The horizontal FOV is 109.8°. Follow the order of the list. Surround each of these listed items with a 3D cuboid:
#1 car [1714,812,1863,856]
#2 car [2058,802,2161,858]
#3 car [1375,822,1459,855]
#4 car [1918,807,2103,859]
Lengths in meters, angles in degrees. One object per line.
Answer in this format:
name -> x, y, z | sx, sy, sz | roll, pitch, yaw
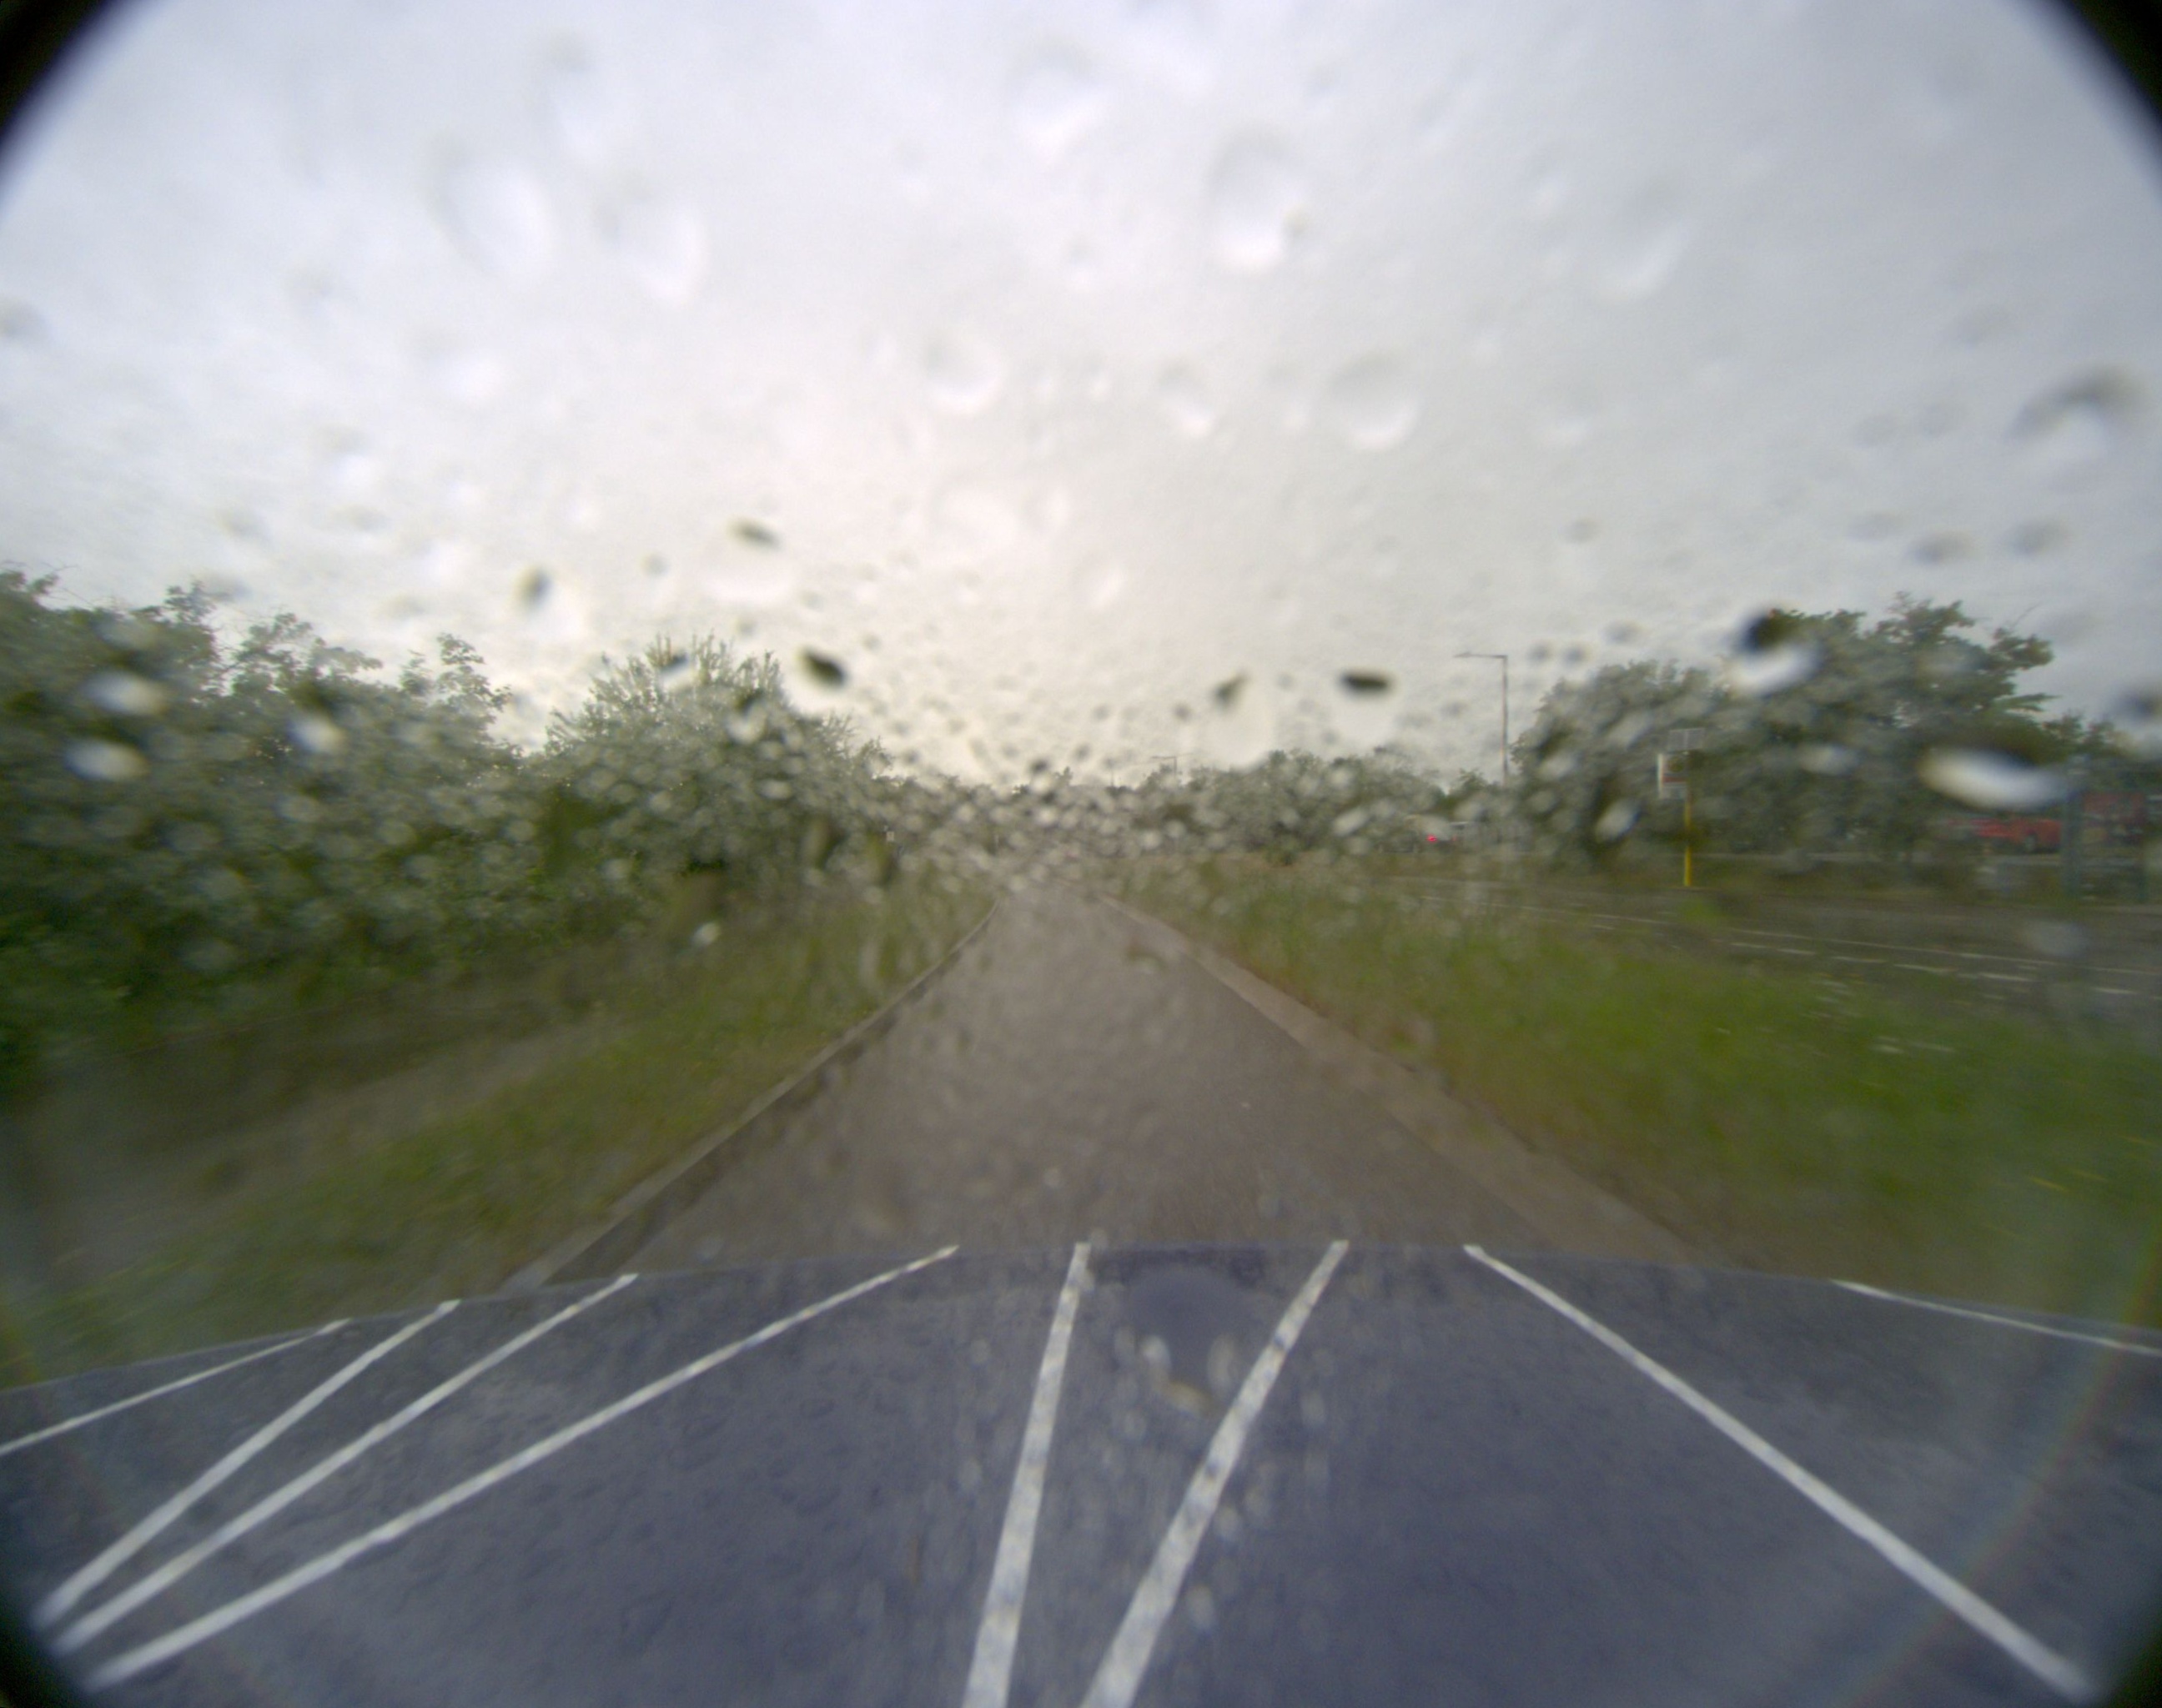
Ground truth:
car -> 25.708, -0.722, 27.668 | 4.000, 1.356, 1.898 | -3, 1, -9
car -> 27.899, -0.606, 19.466 | 4.000, 1.356, 1.846 | -1, 1, -10
car -> 17.997, -0.799, 40.906 | 1.697, 1.559, 4.537 | -4, 0, -12
car -> 27.752, -0.628, 22.738 | 4.001, 1.461, 1.846 | -1, 1, -11
